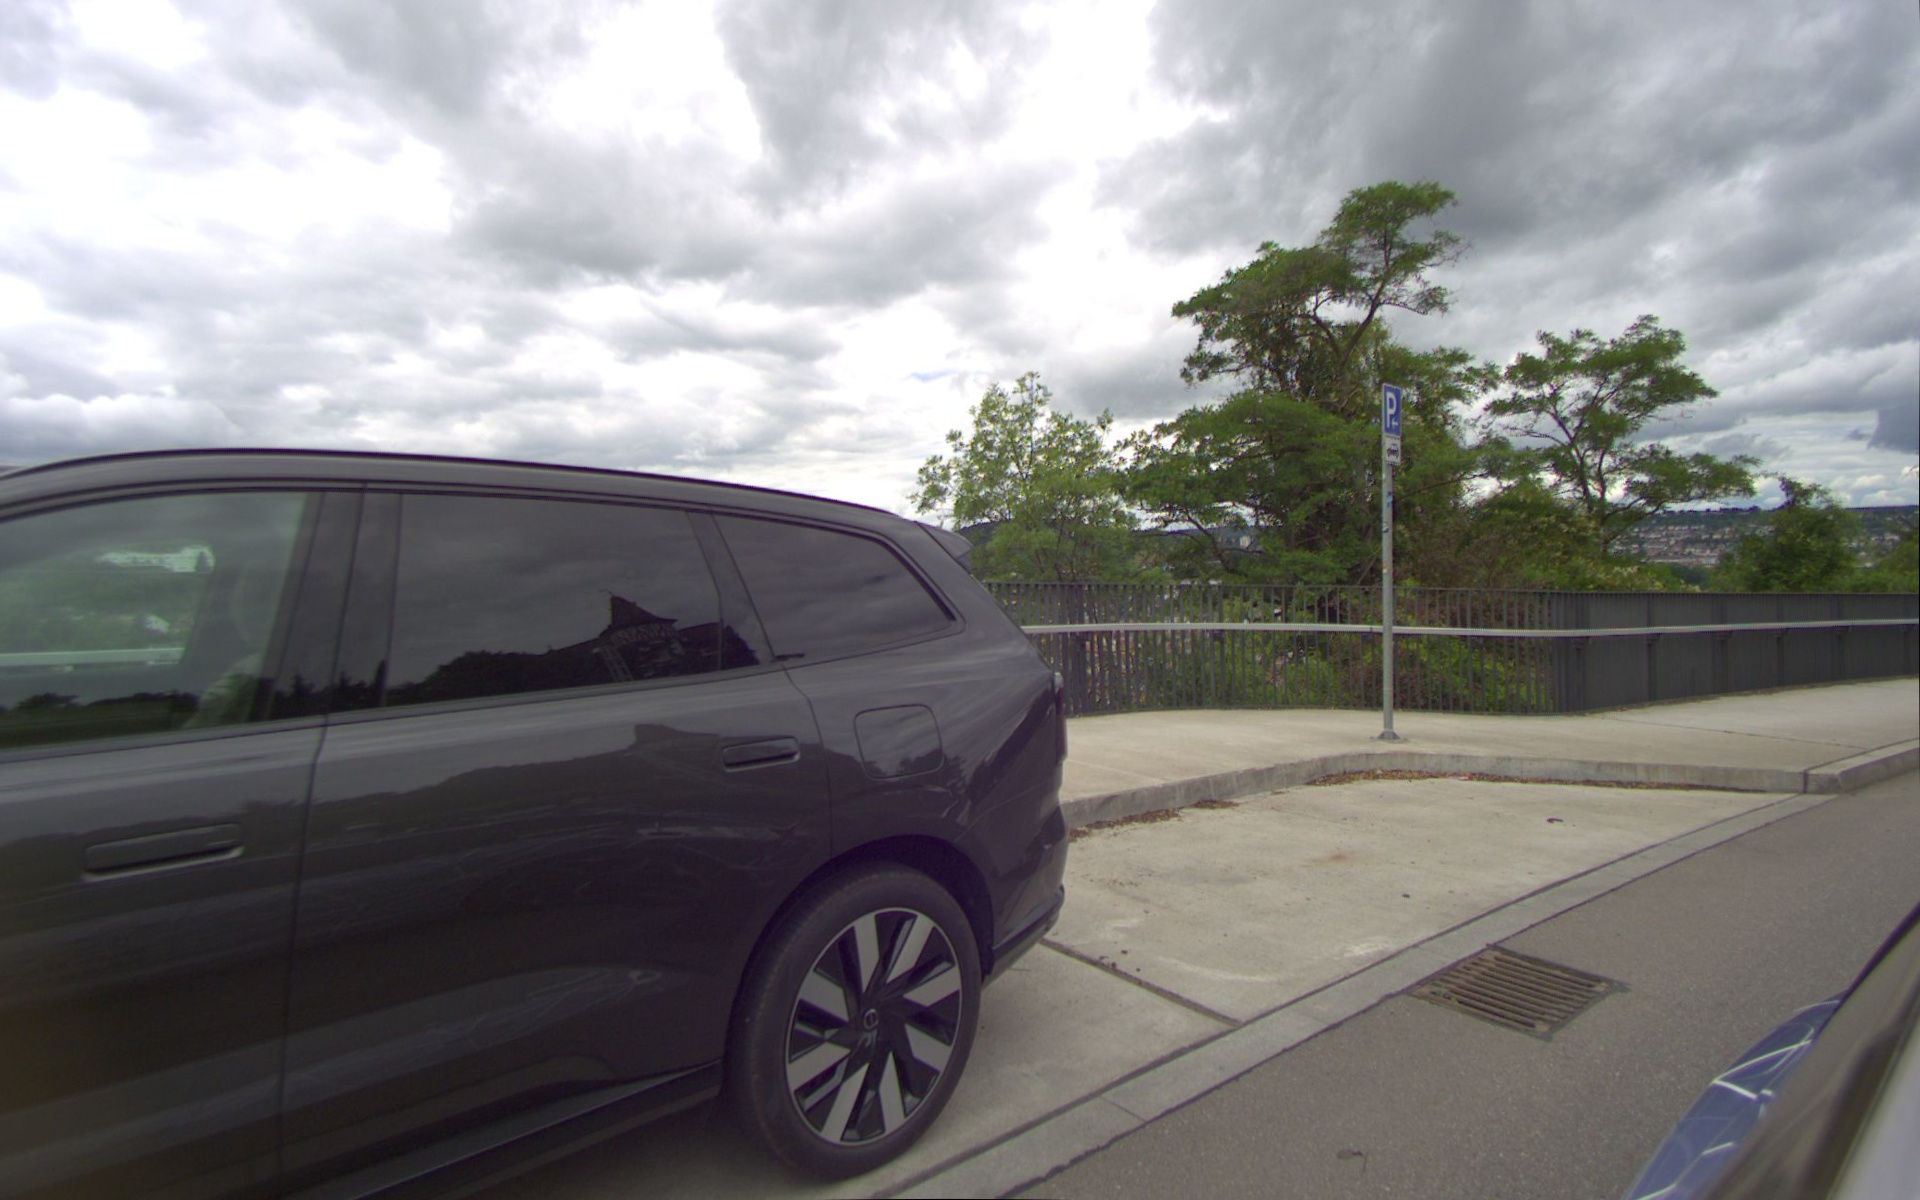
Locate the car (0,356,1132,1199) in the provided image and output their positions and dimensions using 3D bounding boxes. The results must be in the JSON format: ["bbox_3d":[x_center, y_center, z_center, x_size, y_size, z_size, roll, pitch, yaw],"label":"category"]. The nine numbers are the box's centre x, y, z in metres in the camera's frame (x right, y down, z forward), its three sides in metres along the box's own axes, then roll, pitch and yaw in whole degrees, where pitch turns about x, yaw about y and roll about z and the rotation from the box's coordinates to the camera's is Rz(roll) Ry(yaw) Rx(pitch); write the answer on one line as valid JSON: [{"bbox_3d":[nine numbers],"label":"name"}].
[{"bbox_3d":[-1.980,0.489,2.200,4.963,1.739,1.997,-1,3,-42],"label":"car"}]
